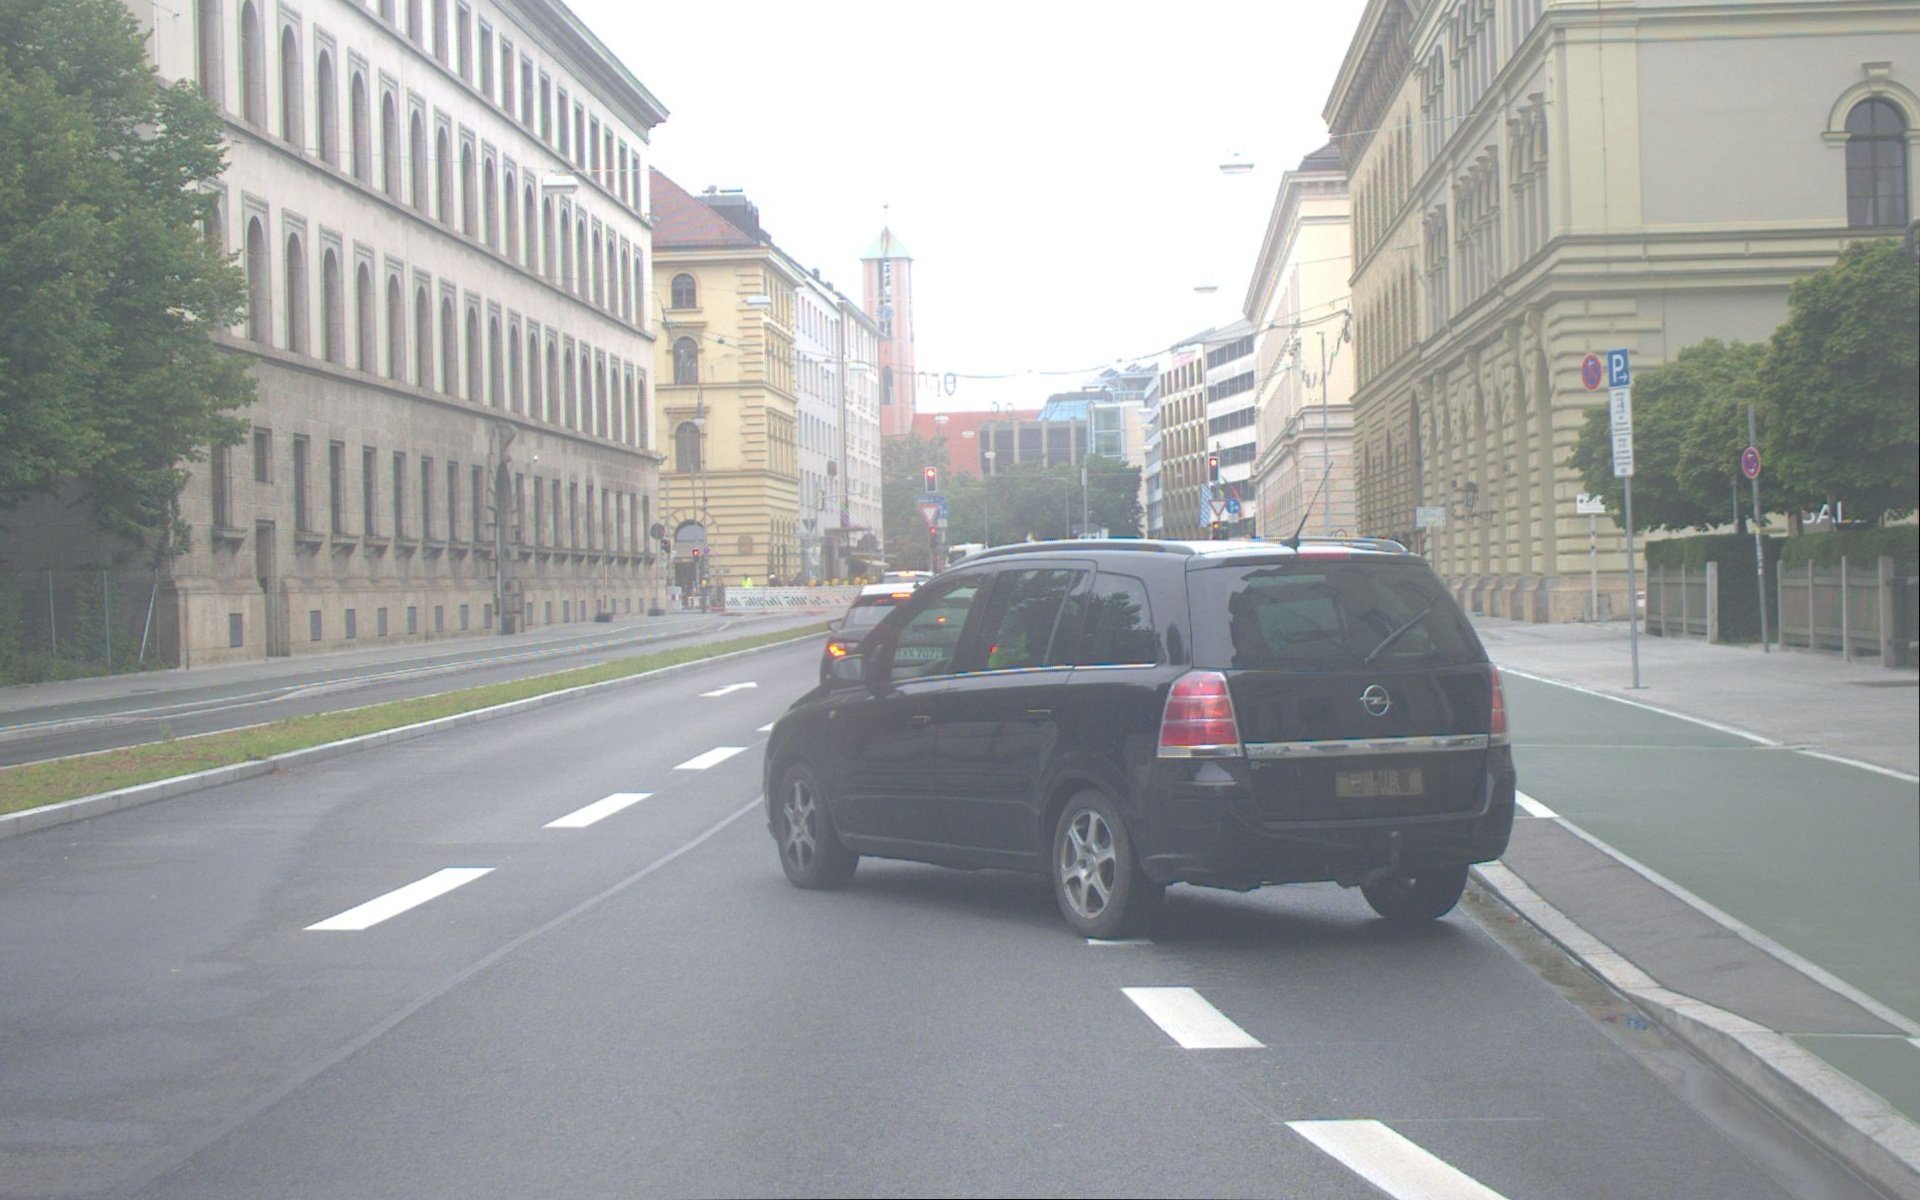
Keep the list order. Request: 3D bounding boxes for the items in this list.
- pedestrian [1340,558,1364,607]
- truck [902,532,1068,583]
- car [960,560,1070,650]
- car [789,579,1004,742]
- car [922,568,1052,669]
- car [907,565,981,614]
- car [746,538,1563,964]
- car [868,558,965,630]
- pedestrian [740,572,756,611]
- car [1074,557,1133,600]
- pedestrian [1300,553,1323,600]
[{"bbox_3d":[12.924,-0.583,113.466,0.710,1.612,0.754,-1,0,3],"label":"pedestrian"},{"bbox_3d":[1.159,-1.924,156.089,7.388,2.245,2.179,0,0,6],"label":"truck"},{"bbox_3d":[0.959,0.058,58.121,1.730,1.456,4.000,0,1,3],"label":"car"},{"bbox_3d":[-0.529,0.515,32.082,1.730,1.398,4.000,0,1,3],"label":"car"},{"bbox_3d":[0.435,0.241,50.330,1.730,1.398,4.000,0,1,3],"label":"car"},{"bbox_3d":[-0.471,-0.352,106.413,1.994,1.439,4.000,-1,1,3],"label":"car"},{"bbox_3d":[0.698,0.541,15.172,1.764,1.610,4.030,0,1,-28],"label":"car"},{"bbox_3d":[-1.003,-0.165,81.875,1.994,1.622,4.000,-1,1,3],"label":"car"},{"bbox_3d":[-10.045,-0.404,162.672,0.656,1.799,0.727,-1,0,3],"label":"pedestrian"},{"bbox_3d":[5.044,-0.777,120.424,1.994,1.439,4.000,-1,1,3],"label":"car"},{"bbox_3d":[12.171,-0.816,118.988,0.710,1.612,0.754,-1,0,3],"label":"pedestrian"}]
